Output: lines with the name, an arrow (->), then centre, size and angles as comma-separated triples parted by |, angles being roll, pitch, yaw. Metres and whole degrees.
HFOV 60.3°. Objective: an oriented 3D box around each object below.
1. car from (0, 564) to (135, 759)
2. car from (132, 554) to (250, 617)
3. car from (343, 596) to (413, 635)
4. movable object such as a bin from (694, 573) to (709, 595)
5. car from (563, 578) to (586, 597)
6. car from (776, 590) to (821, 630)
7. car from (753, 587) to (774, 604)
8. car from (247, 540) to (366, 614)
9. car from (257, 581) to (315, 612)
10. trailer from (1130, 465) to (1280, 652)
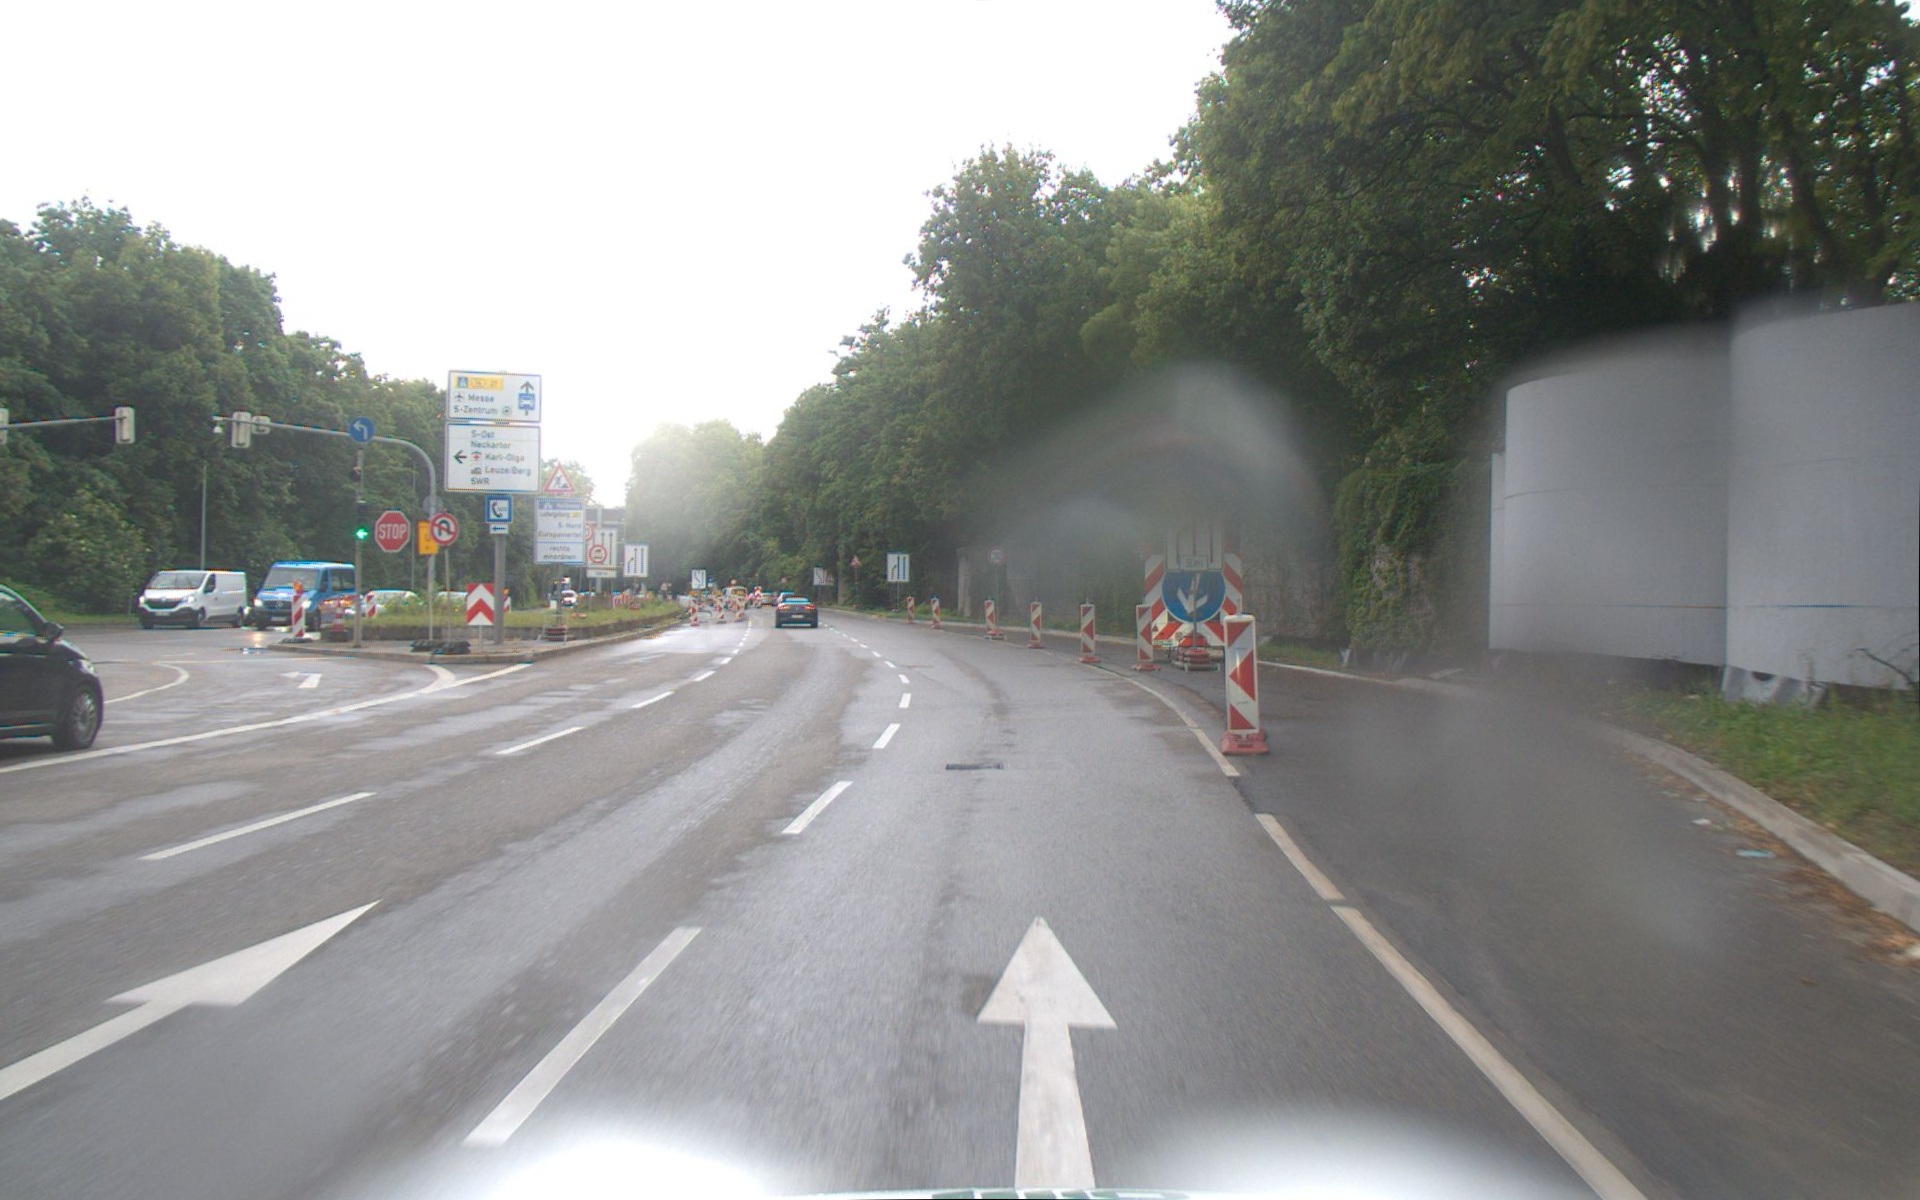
car -> -8.207, 0.468, 13.097 | 1.554, 1.466, 3.504 | 2, 1, 0
car -> -25.931, -0.523, 55.958 | 1.995, 2.008, 4.986 | 1, 1, -5
car -> -19.768, 0.498, 56.356 | 1.521, 1.221, 4.634 | 1, 0, -11
movable object such as a bin -> -35.308, -2.201, 225.875 | 1.717, 2.917, 3.521 | -1, 1, -14
car -> -40.370, -1.323, 173.300 | 1.878, 1.812, 4.824 | 0, 1, -9
car -> -7.024, 0.407, 72.406 | 1.825, 1.517, 3.998 | 2, 3, -4
car -> -20.777, -0.501, 174.975 | 1.829, 1.517, 3.989 | 1, 3, -12
car -> -22.800, -0.833, 57.982 | 2.152, 2.432, 6.238 | 1, 1, -5
car -> -25.946, -0.165, 63.726 | 1.245, 1.104, 2.791 | 2, 1, -5
trailer -> 5.119, -0.839, 35.499 | 2.260, 3.652, 5.959 | -1, 0, 0
